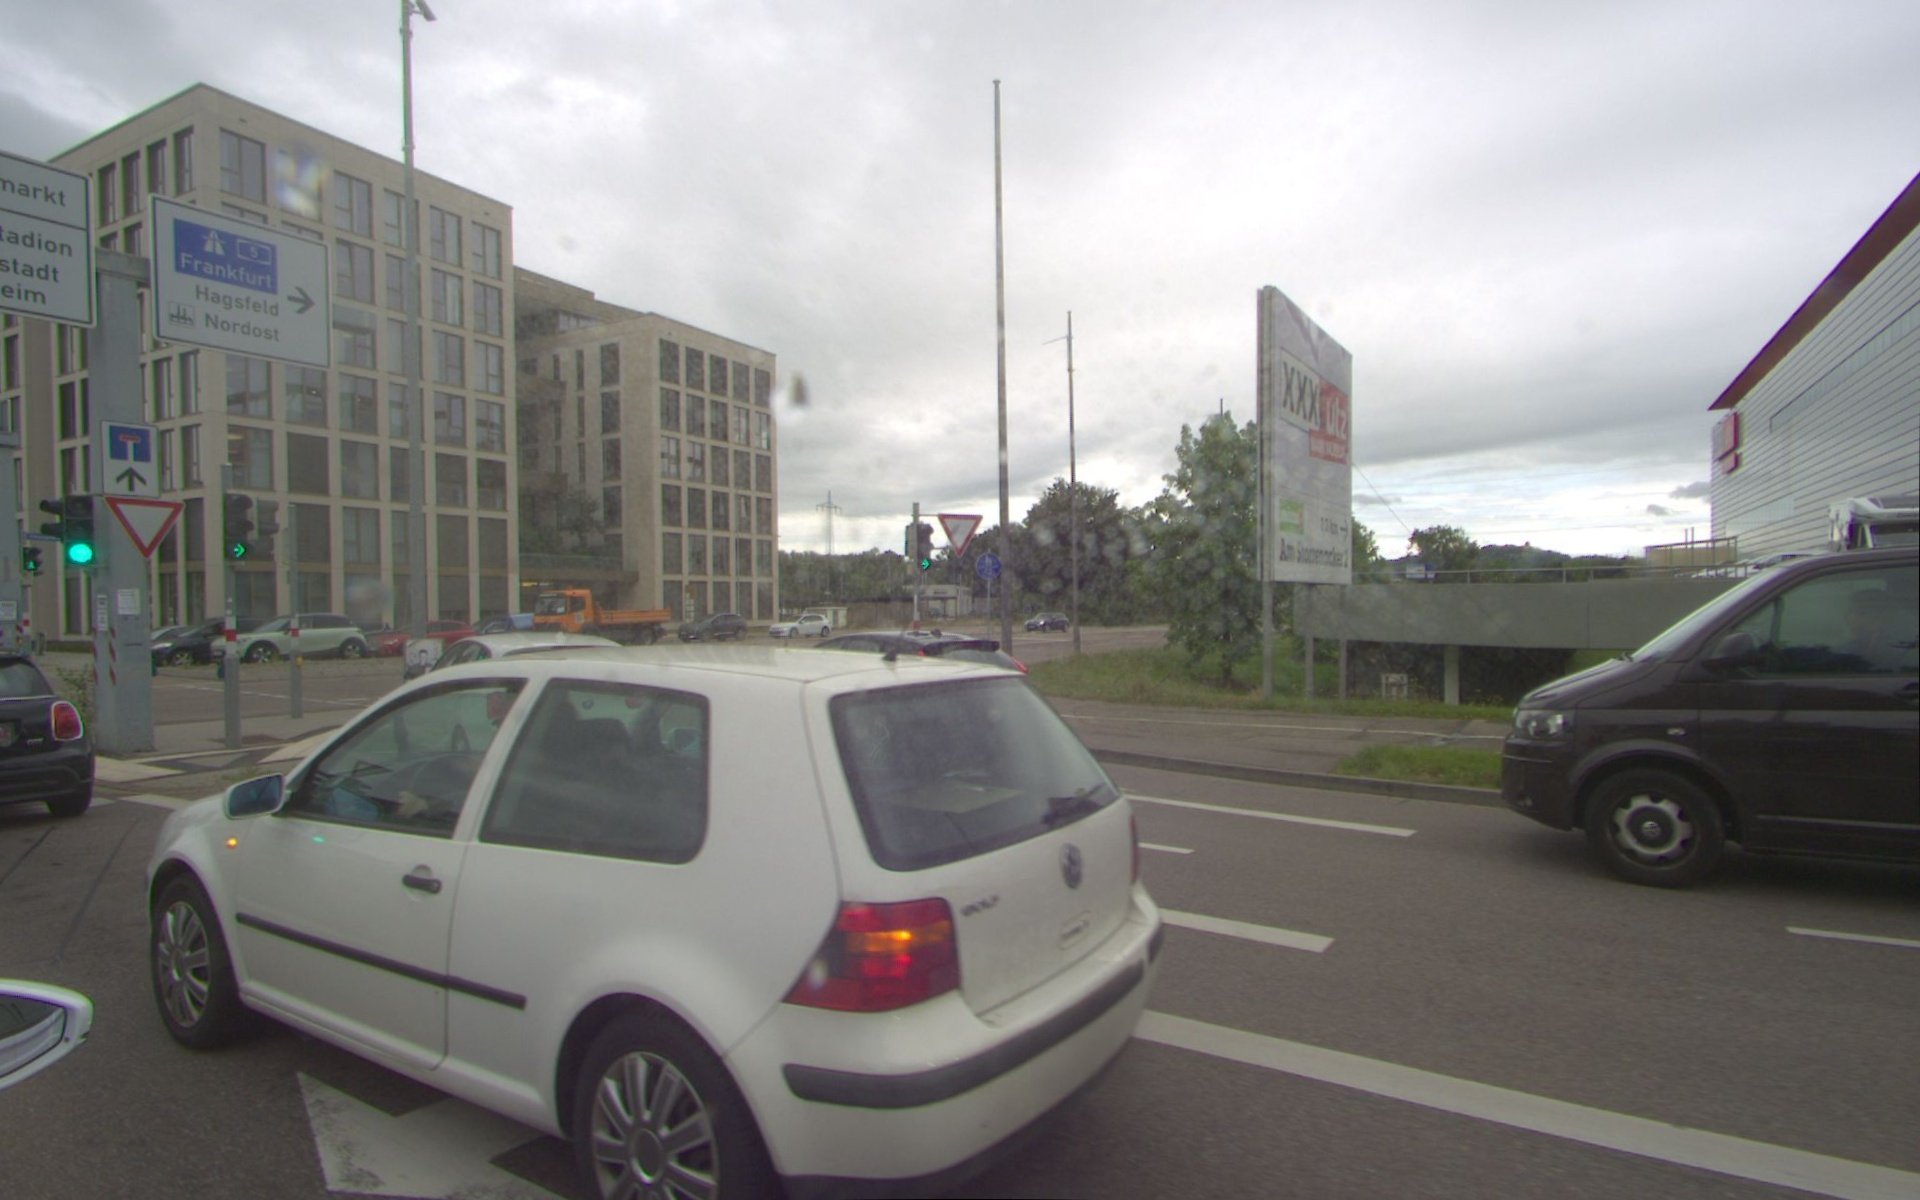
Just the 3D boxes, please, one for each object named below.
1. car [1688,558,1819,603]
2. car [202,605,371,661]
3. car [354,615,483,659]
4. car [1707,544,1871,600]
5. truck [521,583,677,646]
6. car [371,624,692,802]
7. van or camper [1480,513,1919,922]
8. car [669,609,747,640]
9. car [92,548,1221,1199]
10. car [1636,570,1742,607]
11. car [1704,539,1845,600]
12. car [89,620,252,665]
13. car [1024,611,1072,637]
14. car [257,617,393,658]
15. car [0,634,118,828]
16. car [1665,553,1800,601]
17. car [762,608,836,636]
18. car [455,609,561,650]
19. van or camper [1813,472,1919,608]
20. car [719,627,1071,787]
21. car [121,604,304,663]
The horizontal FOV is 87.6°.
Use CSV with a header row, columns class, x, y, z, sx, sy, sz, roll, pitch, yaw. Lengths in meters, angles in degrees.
class,x,y,z,sx,sy,sz,roll,pitch,yaw
car,34.028,-0.804,43.075,4.200,1.697,1.768,-2,-2,32
car,-21.194,1.063,31.686,1.875,1.664,4.055,-1,-2,27
car,-20.959,1.447,38.911,1.970,1.621,3.984,-2,-2,29
car,29.054,-0.927,35.287,4.200,1.697,1.768,-2,-2,32
truck,-16.645,0.767,46.641,2.780,2.671,6.647,-2,-2,30
car,-4.511,0.999,10.189,1.816,1.428,4.162,1,-3,-41
van or camper,5.810,0.602,5.612,4.878,2.039,2.151,-2,-2,36
car,-14.447,1.436,57.558,1.973,1.678,4.098,-2,-3,33
car,-1.273,0.740,3.661,3.948,1.496,1.829,-2,-2,32
car,37.055,-0.545,51.049,4.200,1.697,1.768,-2,-2,32
car,30.999,-1.098,38.270,3.945,2.039,1.989,-2,-2,34
car,-27.089,1.458,34.504,1.725,1.450,4.083,-2,-2,28
car,6.471,1.786,73.274,1.970,1.791,4.405,-2,-2,28
car,-24.578,1.458,38.909,1.844,1.509,4.134,-2,-2,28
car,-8.730,1.019,8.240,3.592,1.433,1.783,-2,-2,33
car,31.665,-0.905,41.209,4.200,1.697,1.768,-2,-2,32
car,-10.064,1.401,62.665,1.978,1.678,4.326,-2,-3,41
car,-20.778,1.388,46.162,1.970,1.791,4.134,-2,-2,28
van or camper,26.018,-1.497,27.625,2.676,3.175,7.201,-2,-2,32
car,-0.906,1.079,11.392,1.885,1.467,4.144,1,-3,-41
car,-24.340,1.118,32.800,1.970,1.791,4.405,-2,-2,28
